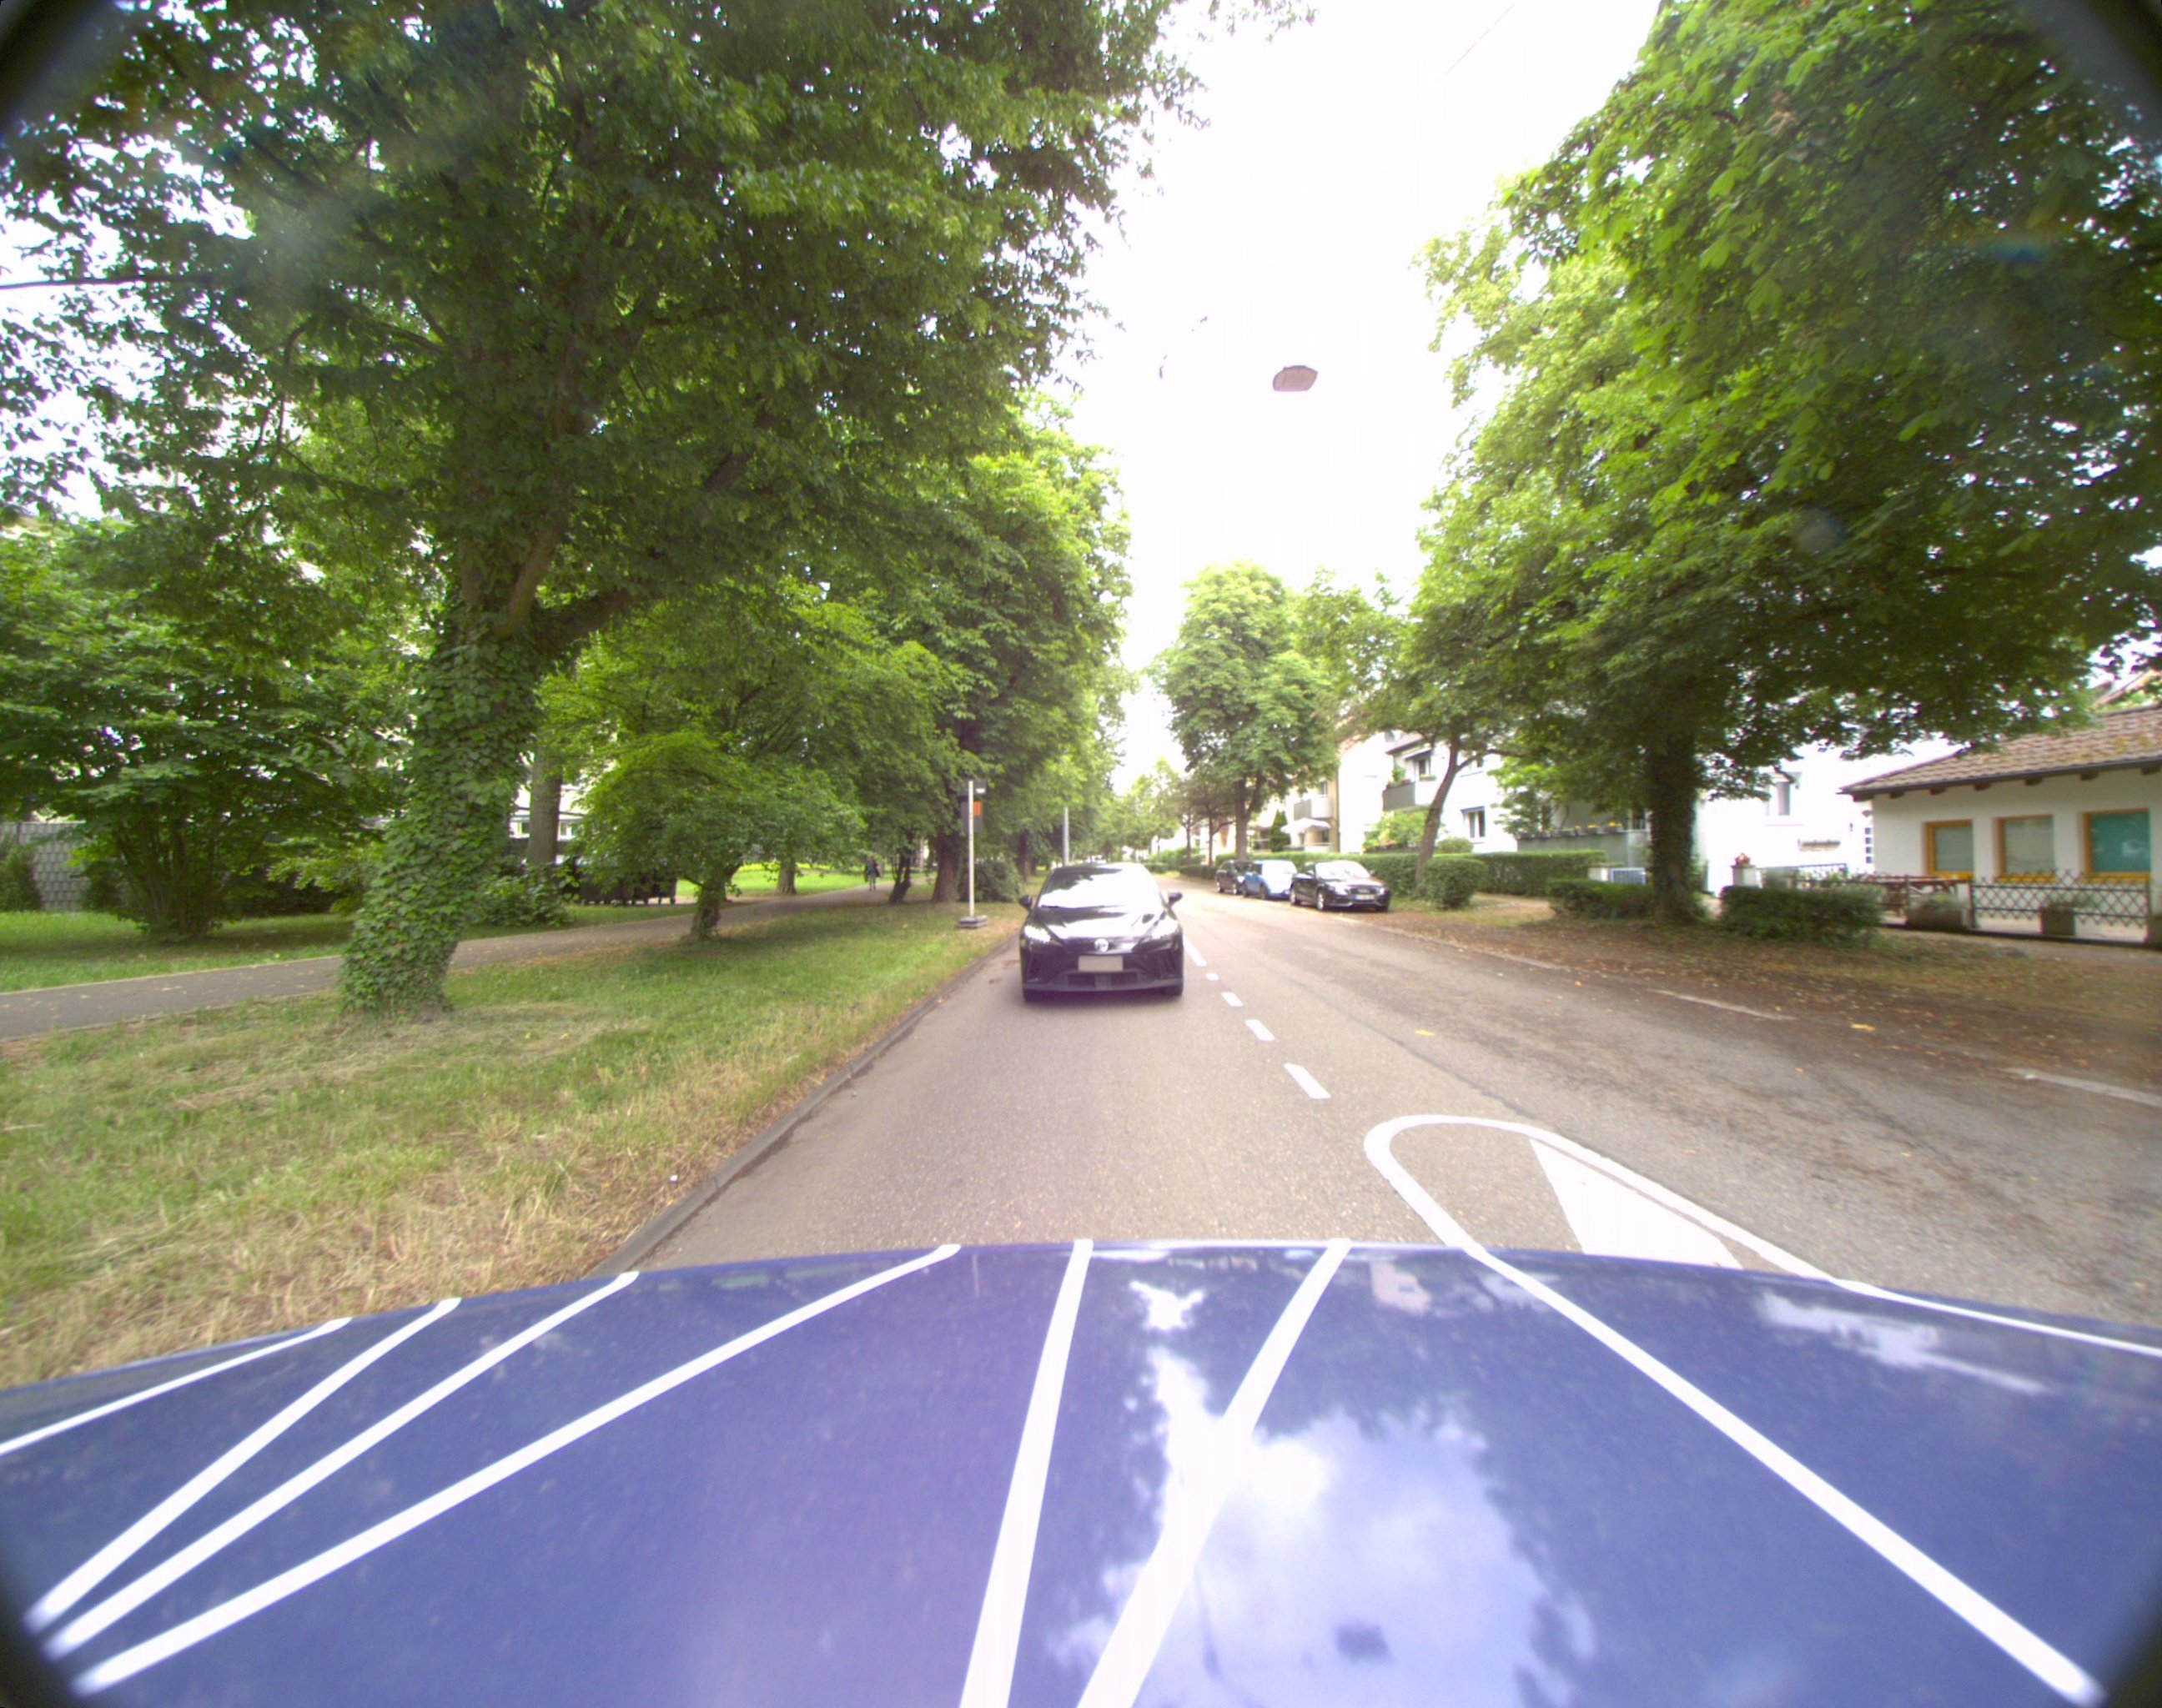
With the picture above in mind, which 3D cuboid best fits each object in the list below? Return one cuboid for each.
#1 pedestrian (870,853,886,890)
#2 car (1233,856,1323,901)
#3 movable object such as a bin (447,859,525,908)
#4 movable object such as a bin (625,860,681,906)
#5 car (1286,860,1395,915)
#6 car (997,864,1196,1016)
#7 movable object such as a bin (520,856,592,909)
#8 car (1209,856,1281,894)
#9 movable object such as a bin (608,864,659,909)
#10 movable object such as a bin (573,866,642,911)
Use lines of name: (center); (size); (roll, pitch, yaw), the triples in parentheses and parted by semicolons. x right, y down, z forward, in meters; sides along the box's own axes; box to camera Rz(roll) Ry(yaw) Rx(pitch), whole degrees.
pedestrian: (-9.662, 0.812, 36.202); (0.565, 1.730, 0.570); (1, 0, 0)
car: (7.067, 0.839, 27.803); (1.889, 1.492, 4.564); (0, 0, -3)
movable object such as a bin: (-16.629, 0.801, 21.297); (1.194, 1.334, 1.348); (0, 0, -8)
movable object such as a bin: (-13.369, 0.897, 23.797); (1.194, 1.405, 1.110); (0, 0, -8)
car: (7.289, 0.884, 21.782); (1.735, 1.395, 4.171); (0, 0, 1)
car: (0.166, 0.893, 9.940); (1.998, 1.491, 4.615); (0, 0, 0)
movable object such as a bin: (-14.688, 0.782, 21.307); (1.194, 1.448, 1.348); (0, 0, -8)
car: (6.918, 0.834, 32.555); (1.889, 1.524, 4.564); (0, 0, -3)
movable object such as a bin: (-13.361, 0.959, 22.703); (1.026, 1.296, 0.959); (0, 0, -8)
movable object such as a bin: (-13.372, 0.942, 21.505); (1.194, 1.213, 1.348); (0, 0, -8)
